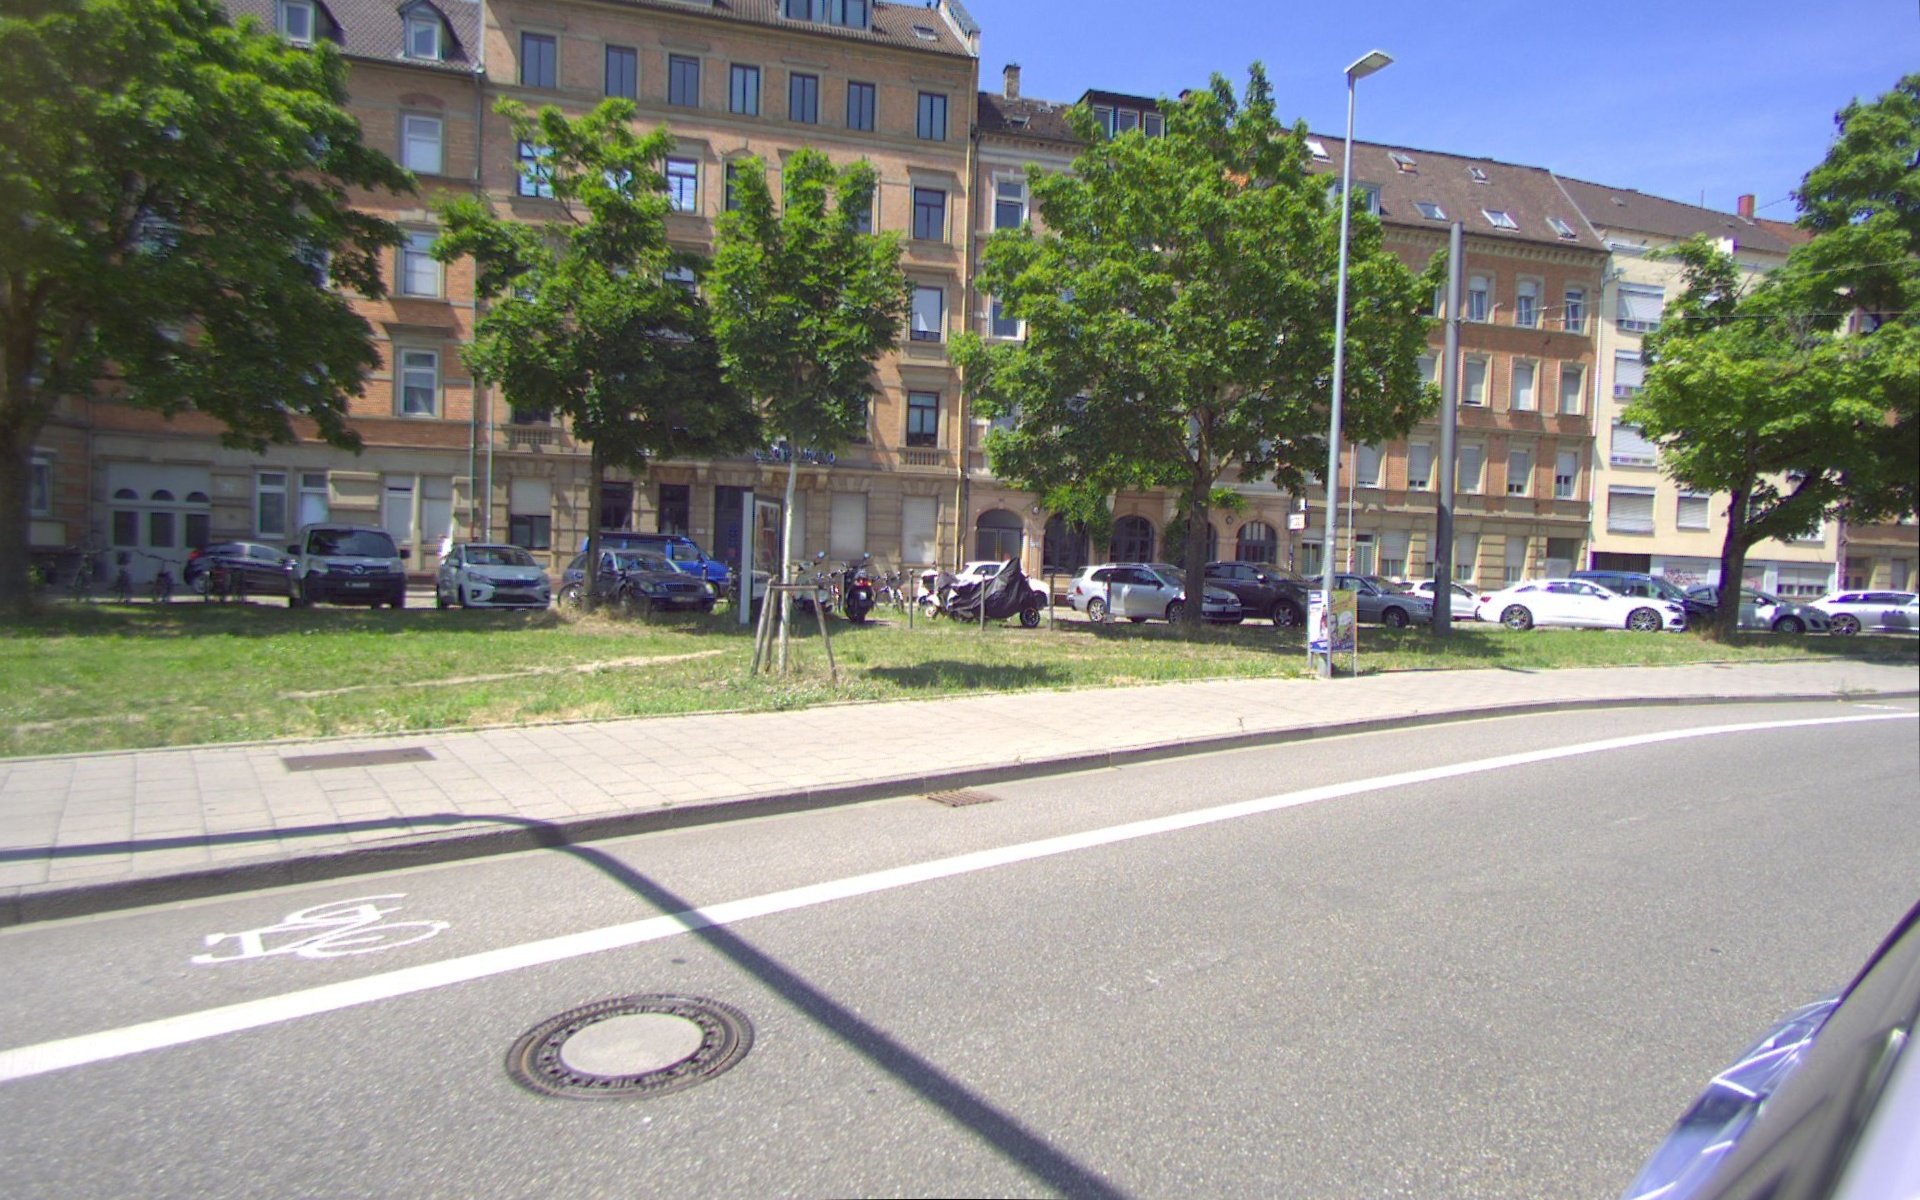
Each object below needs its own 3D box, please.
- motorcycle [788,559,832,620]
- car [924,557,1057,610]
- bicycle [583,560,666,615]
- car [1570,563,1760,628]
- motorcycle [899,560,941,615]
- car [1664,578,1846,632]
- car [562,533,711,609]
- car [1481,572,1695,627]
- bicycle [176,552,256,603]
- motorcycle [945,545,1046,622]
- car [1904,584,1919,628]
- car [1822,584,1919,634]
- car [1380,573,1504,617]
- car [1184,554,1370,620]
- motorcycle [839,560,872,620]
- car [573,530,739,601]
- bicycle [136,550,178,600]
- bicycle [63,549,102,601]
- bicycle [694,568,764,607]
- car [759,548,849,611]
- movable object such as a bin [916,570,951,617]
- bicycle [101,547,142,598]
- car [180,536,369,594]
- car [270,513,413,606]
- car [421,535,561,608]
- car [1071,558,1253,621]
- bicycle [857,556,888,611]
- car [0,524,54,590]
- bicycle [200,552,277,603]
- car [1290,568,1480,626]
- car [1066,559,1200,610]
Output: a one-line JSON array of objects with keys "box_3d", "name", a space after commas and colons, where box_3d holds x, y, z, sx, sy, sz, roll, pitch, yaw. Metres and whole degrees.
[{"box_3d": [-2.972, -0.213, 19.949, 0.517, 1.134, 1.832, 1, 0, -19], "name": "motorcycle"}, {"box_3d": [0.943, -0.523, 32.500, 3.917, 1.549, 1.846, 1, 0, -10], "name": "car"}, {"box_3d": [-6.099, -0.222, 18.407, 1.348, 0.959, 0.475, 1, 0, 9], "name": "bicycle"}, {"box_3d": [19.715, -0.137, 28.429, 1.936, 1.683, 3.998, 1, 0, -38], "name": "car"}, {"box_3d": [-0.938, -0.305, 24.320, 0.797, 1.251, 2.084, 1, 1, 3], "name": "motorcycle"}, {"box_3d": [22.540, 0.109, 28.772, 3.985, 1.418, 1.686, 2, 0, 42], "name": "car"}, {"box_3d": [-6.877, -0.588, 21.295, 1.579, 1.450, 3.863, 1, 0, -41], "name": "car"}, {"box_3d": [16.917, -0.041, 27.376, 4.760, 1.330, 2.121, 2, 0, 37], "name": "car"}, {"box_3d": [-14.408, -0.439, 19.577, 2.411, 0.947, 0.502, 2, 0, 35], "name": "bicycle"}, {"box_3d": [0.687, -0.331, 19.901, 1.818, 1.430, 0.679, 2, 2, -11], "name": "motorcycle"}, {"box_3d": [31.974, 0.237, 30.981, 4.414, 1.355, 1.942, 2, 0, 42], "name": "car"}, {"box_3d": [28.698, 0.292, 30.064, 4.674, 1.445, 1.942, 2, 0, 42], "name": "car"}, {"box_3d": [17.083, -0.185, 35.930, 3.638, 1.438, 1.788, 1, 0, -13], "name": "car"}, {"box_3d": [7.714, -0.322, 24.921, 1.766, 1.488, 4.088, 1, 0, -39], "name": "car"}, {"box_3d": [-2.086, -0.194, 20.086, 0.468, 1.134, 1.528, 1, 0, -13], "name": "motorcycle"}, {"box_3d": [-8.937, -0.985, 30.158, 4.557, 1.928, 1.929, 1, 0, -12], "name": "car"}, {"box_3d": [-15.891, -0.491, 20.015, 0.499, 0.947, 2.046, 1, 0, -42], "name": "bicycle"}, {"box_3d": [-16.750, -0.481, 19.306, 0.499, 0.947, 2.046, 1, 0, -42], "name": "bicycle"}, {"box_3d": [-5.010, -0.271, 21.928, 1.439, 0.815, 0.495, 1, 0, 22], "name": "bicycle"}, {"box_3d": [-3.785, -0.489, 25.147, 1.918, 1.393, 4.004, 1, 0, -5], "name": "car"}, {"box_3d": [-0.553, -0.132, 21.297, 0.688, 0.949, 0.989, 1, 0, -1], "name": "movable object such as a bin"}, {"box_3d": [-16.401, -0.540, 19.780, 0.499, 0.947, 2.046, 1, 0, -42], "name": "bicycle"}, {"box_3d": [-18.698, -0.922, 27.785, 3.916, 1.438, 1.781, 1, 0, -13], "name": "car"}, {"box_3d": [-12.487, -0.763, 20.277, 1.803, 1.621, 4.870, 1, 0, -39], "name": "car"}, {"box_3d": [-9.816, -0.565, 21.027, 1.727, 1.349, 3.996, 1, 0, -39], "name": "car"}, {"box_3d": [4.741, -0.266, 24.328, 1.553, 1.393, 4.346, 1, 0, -38], "name": "car"}, {"box_3d": [-2.104, -0.383, 24.465, 0.619, 1.251, 2.086, 1, 0, -2], "name": "bicycle"}, {"box_3d": [-23.565, -1.036, 23.051, 1.753, 1.549, 4.060, 1, 0, 16], "name": "car"}, {"box_3d": [-14.563, -0.469, 20.399, 2.412, 0.947, 0.502, 3, 2, 35], "name": "bicycle"}, {"box_3d": [10.583, -0.086, 25.471, 1.934, 1.330, 4.002, 1, 0, -34], "name": "car"}, {"box_3d": [5.657, -0.492, 33.276, 3.916, 1.549, 1.846, 1, 0, -14], "name": "car"}]
